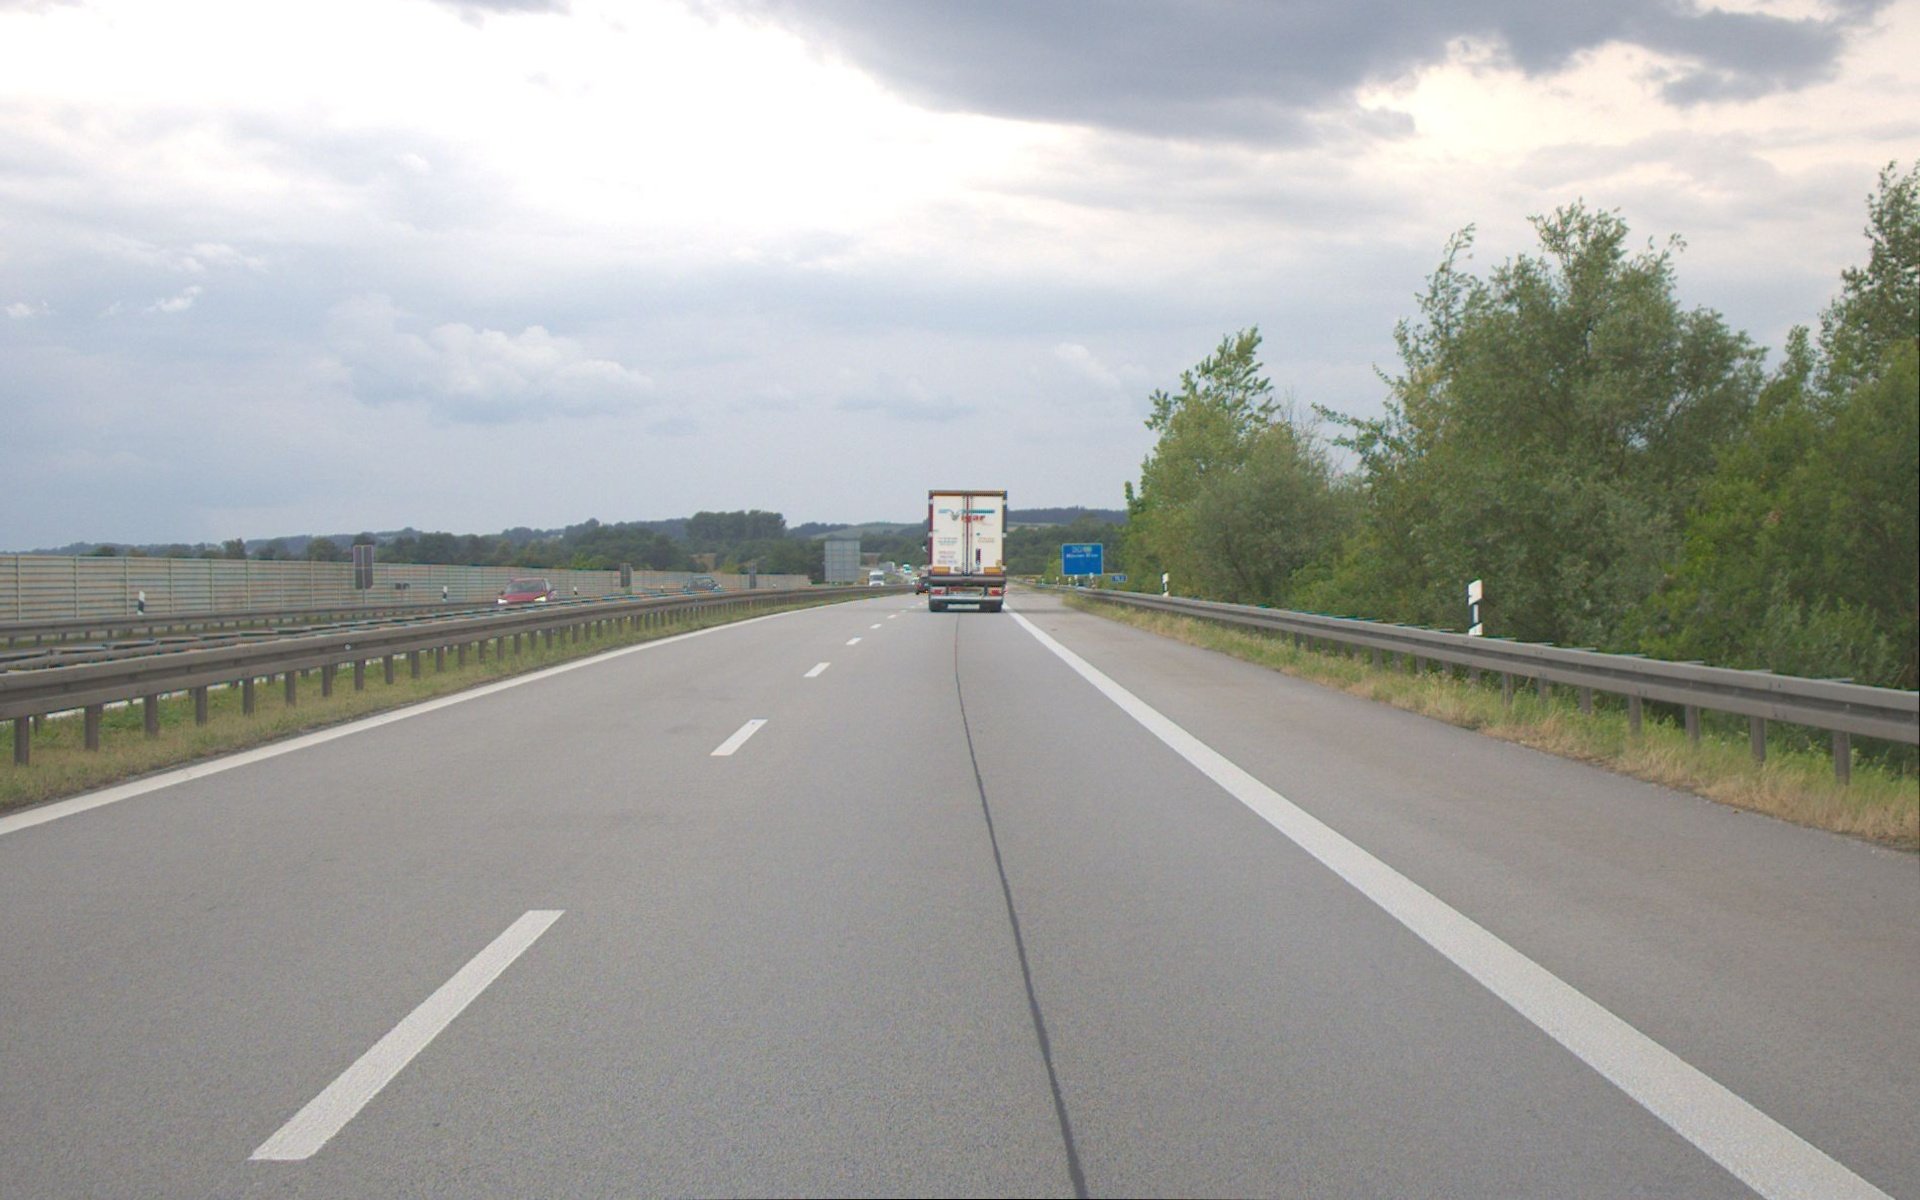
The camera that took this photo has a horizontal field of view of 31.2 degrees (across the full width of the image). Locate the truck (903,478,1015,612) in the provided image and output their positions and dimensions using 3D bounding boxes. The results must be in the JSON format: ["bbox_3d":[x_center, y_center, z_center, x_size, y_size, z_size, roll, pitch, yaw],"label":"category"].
[{"bbox_3d":[-0.087,-1.874,121.351,3.672,4.397,16.341,0,0,0],"label":"truck"}]

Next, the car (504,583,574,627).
[{"bbox_3d":[-14.589,0.158,119.318,1.818,1.398,4.877,-1,1,0],"label":"car"}]

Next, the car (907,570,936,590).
[{"bbox_3d":[-2.952,-1.552,262.703,1.993,1.415,4.001,1,2,-3],"label":"car"}]
